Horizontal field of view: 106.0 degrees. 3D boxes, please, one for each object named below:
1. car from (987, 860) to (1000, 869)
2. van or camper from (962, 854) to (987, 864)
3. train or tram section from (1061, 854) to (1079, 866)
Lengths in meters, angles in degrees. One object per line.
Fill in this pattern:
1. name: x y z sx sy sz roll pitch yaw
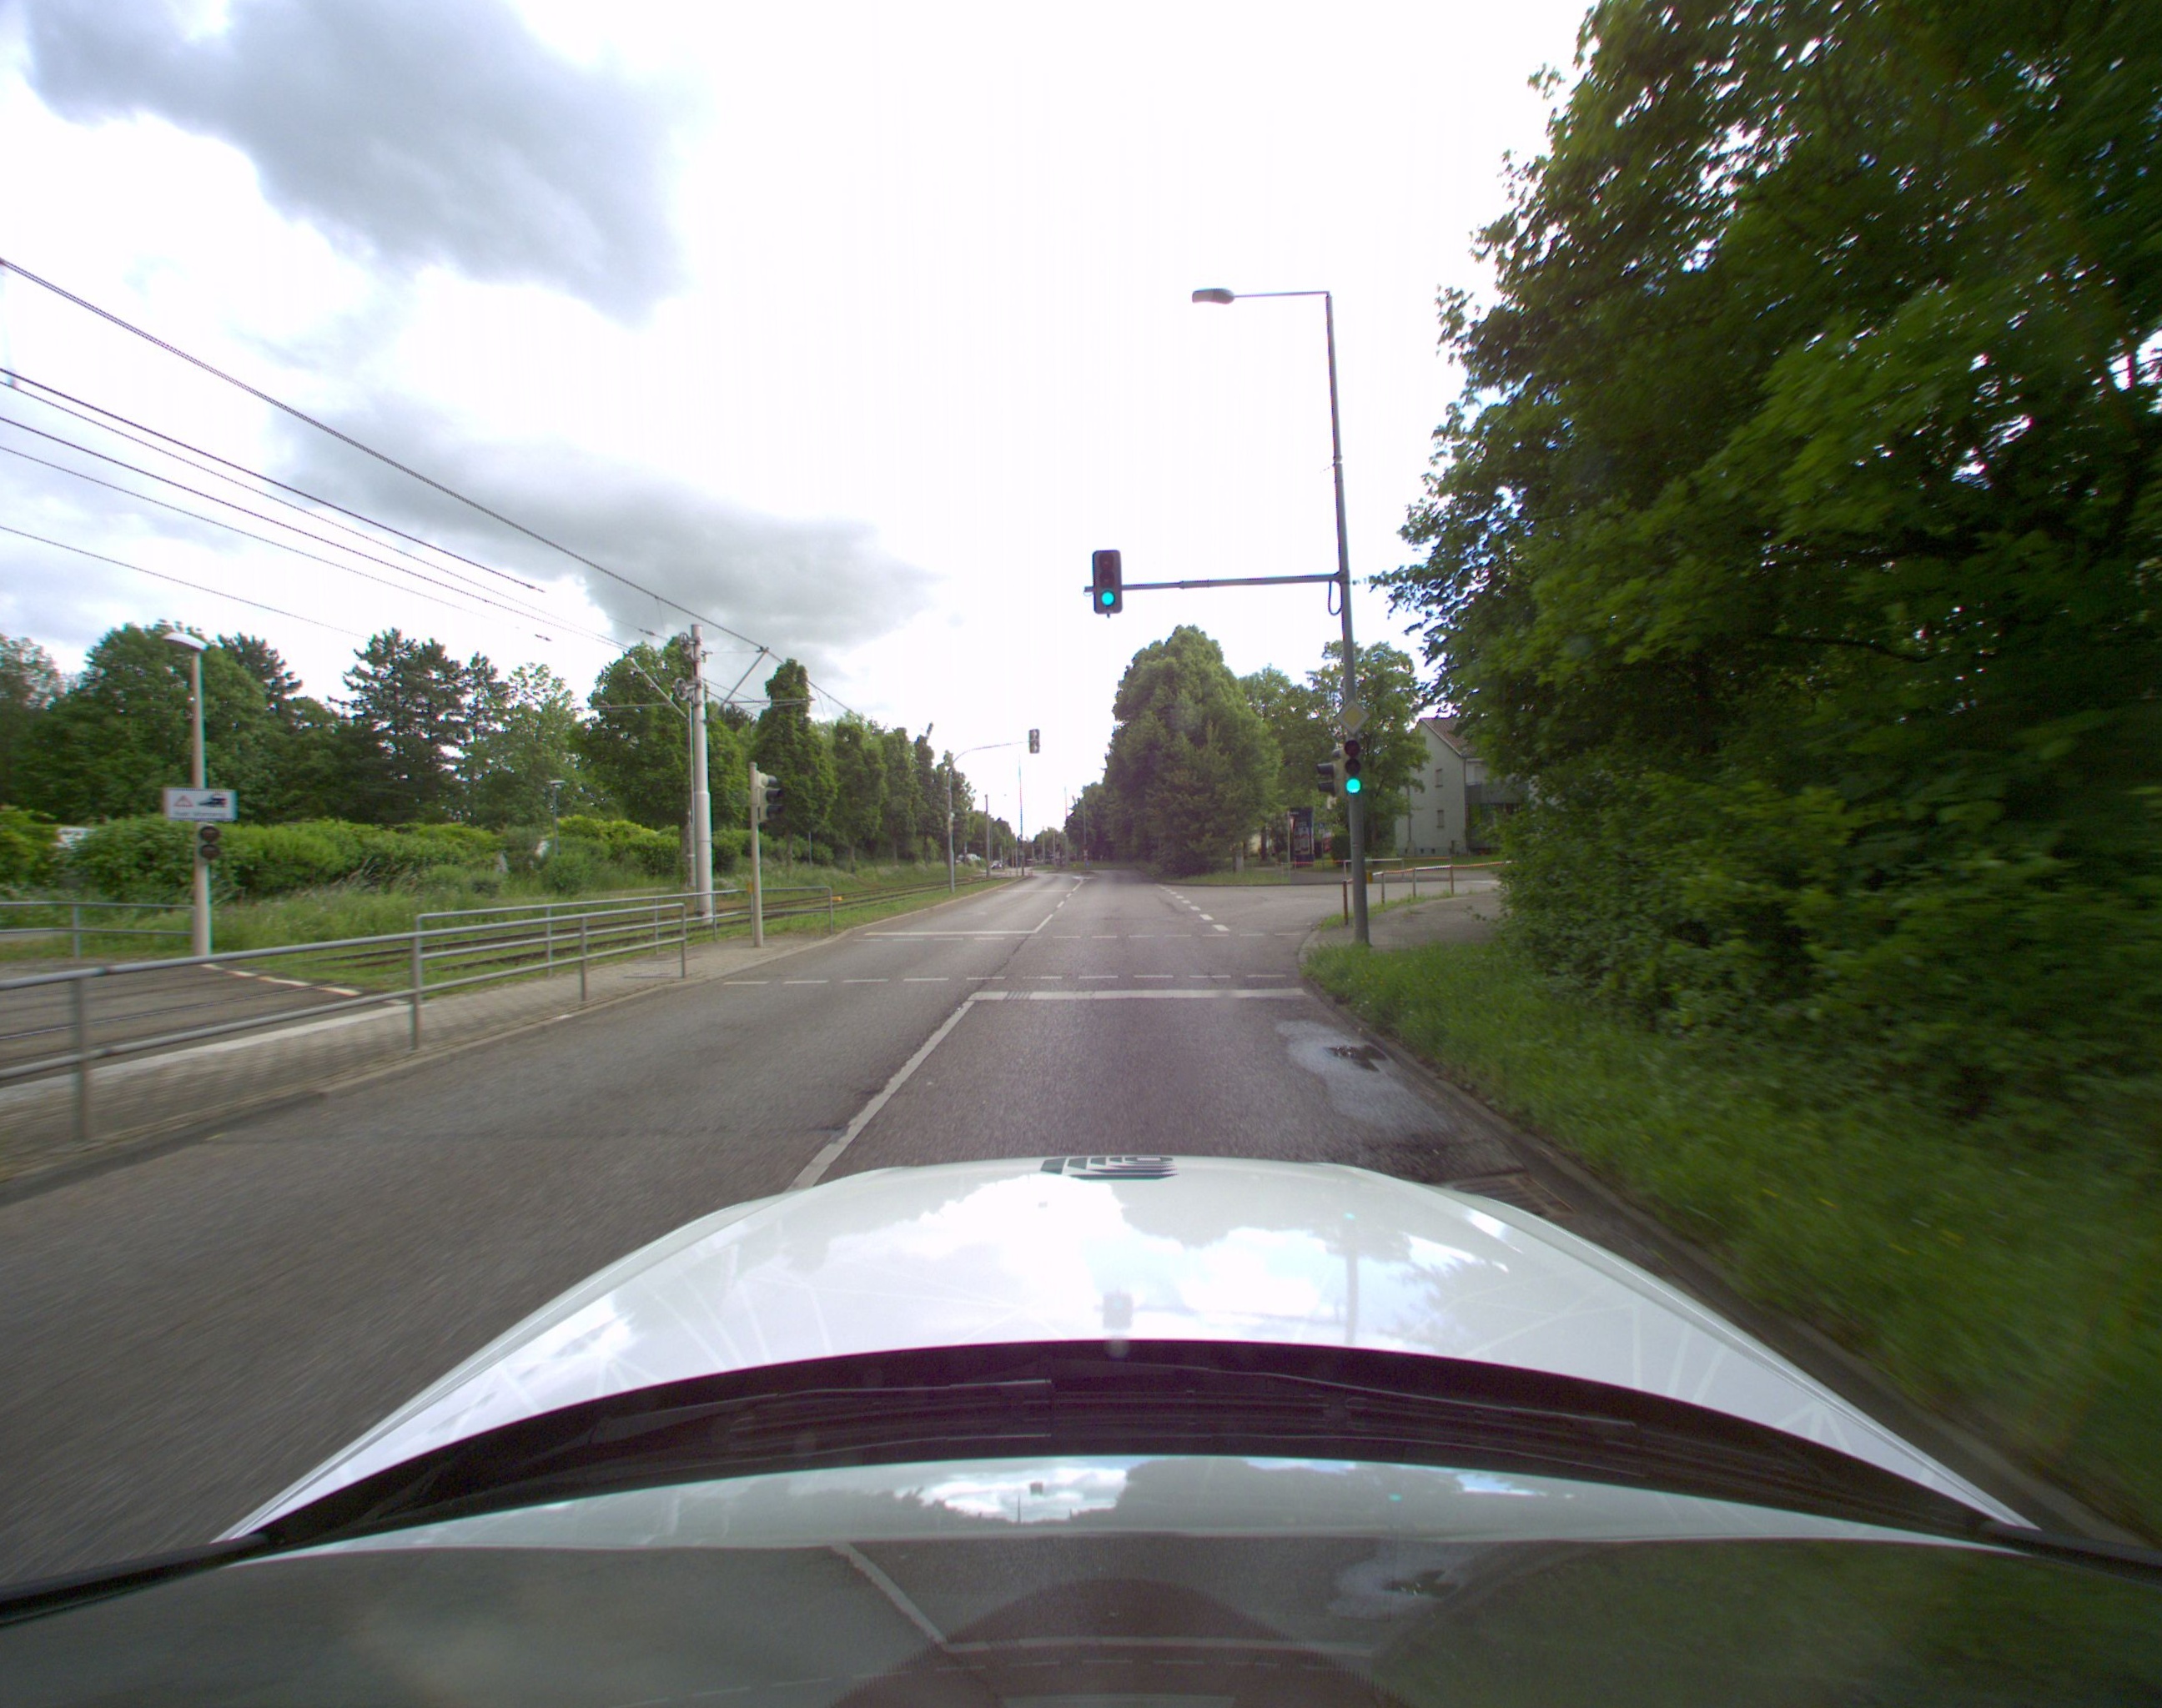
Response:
1. car: -15.131 1.823 141.300 1.861 1.521 4.237 -1 0 -1
2. van or camper: -24.222 1.162 185.644 5.319 2.203 1.998 -1 -1 -2
3. train or tram section: -3.523 1.898 245.589 3.002 3.311 34.651 -1 -1 -4
